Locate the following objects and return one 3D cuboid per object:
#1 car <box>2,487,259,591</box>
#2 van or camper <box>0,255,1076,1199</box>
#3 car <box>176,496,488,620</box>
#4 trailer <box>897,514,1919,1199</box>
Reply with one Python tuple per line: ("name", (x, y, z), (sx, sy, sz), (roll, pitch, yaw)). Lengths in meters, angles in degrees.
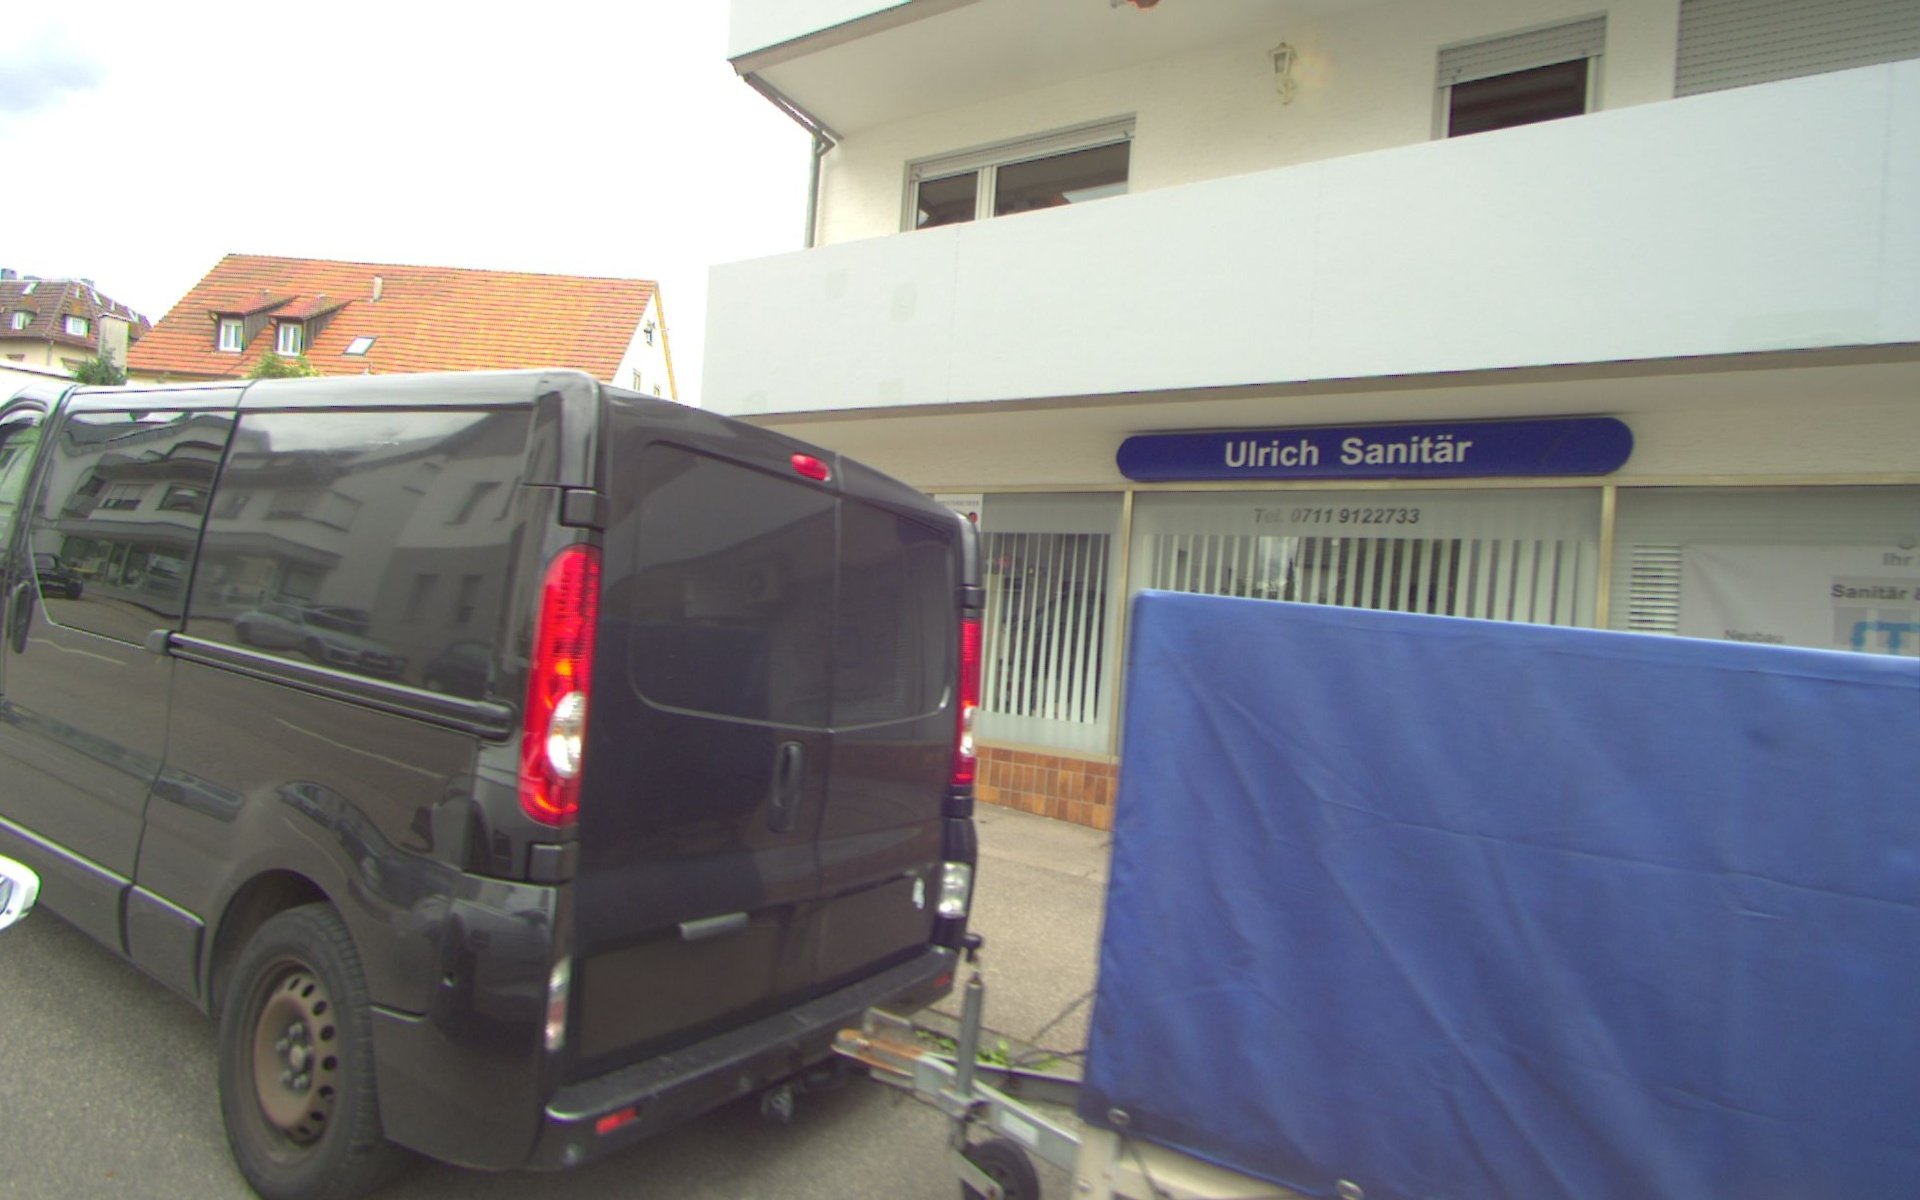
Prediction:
("car", (-15.395, -1.069, 18.894), (1.671, 1.538, 3.323), (6, 1, 12))
("van or camper", (-2.342, 0.268, 3.902), (4.979, 2.036, 1.998), (6, -2, 31))
("car", (-10.556, -0.625, 17.281), (1.870, 1.675, 4.121), (7, 1, 23))
("trailer", (1.483, 0.846, 1.721), (2.785, 1.585, 1.426), (7, -1, 26))
